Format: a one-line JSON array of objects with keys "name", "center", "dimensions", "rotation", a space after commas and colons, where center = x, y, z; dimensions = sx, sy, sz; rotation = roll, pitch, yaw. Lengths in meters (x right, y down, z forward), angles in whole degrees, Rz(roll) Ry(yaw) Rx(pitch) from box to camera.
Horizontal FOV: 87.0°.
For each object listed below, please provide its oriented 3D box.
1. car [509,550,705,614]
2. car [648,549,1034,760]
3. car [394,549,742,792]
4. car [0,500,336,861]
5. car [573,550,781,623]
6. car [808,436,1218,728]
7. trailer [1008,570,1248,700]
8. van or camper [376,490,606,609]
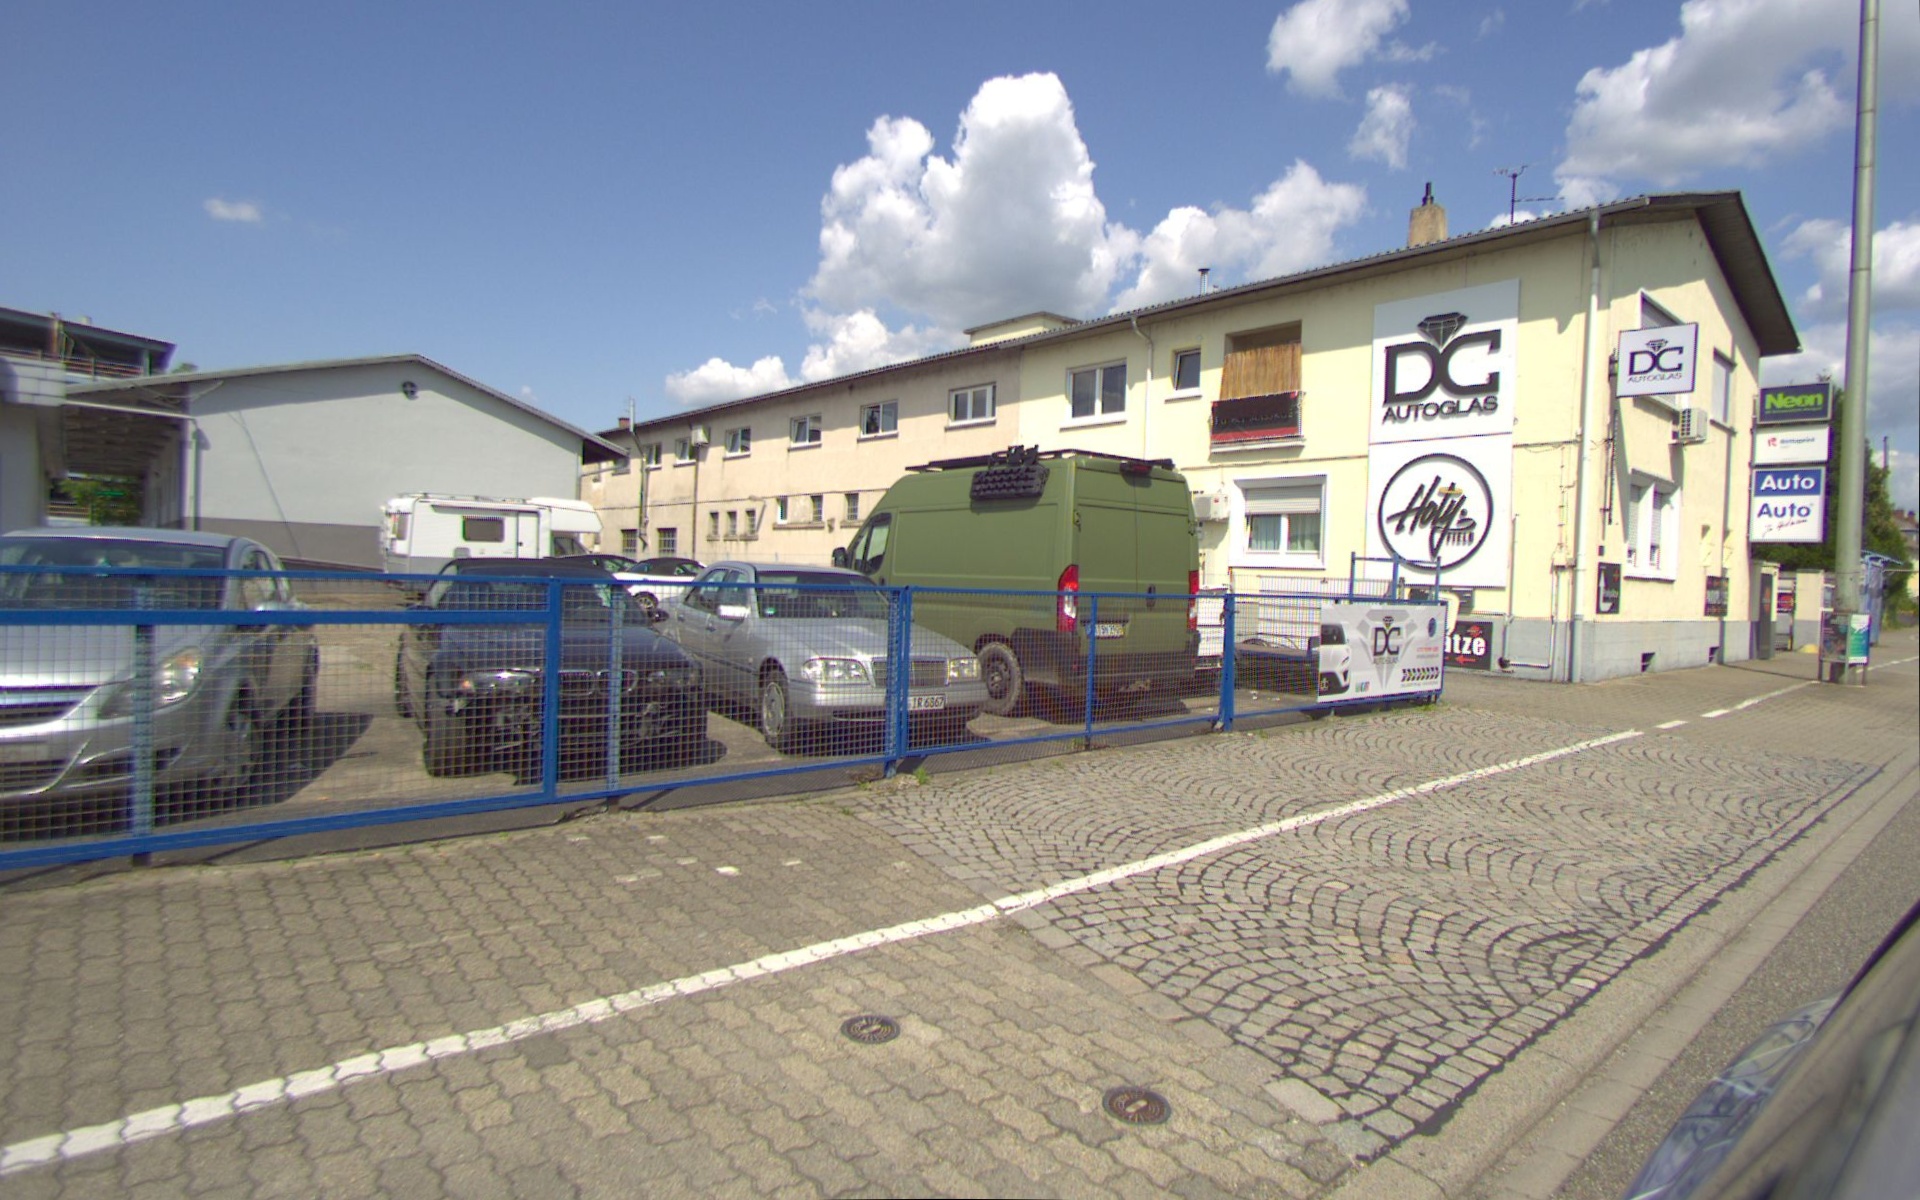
[{"name": "car", "center": [-8.606, -0.448, 24.853], "dimensions": [4.110, 1.405, 1.925], "rotation": [0, 3, -43]}, {"name": "car", "center": [-1.327, 0.294, 9.234], "dimensions": [1.785, 1.449, 4.200], "rotation": [0, 2, -33]}, {"name": "car", "center": [-3.263, 0.319, 7.886], "dimensions": [1.784, 1.372, 4.004], "rotation": [0, 2, -32]}, {"name": "car", "center": [-4.977, 0.254, 6.006], "dimensions": [1.714, 1.515, 4.008], "rotation": [1, 2, -25]}, {"name": "car", "center": [-6.223, -0.315, 22.496], "dimensions": [4.110, 1.433, 1.756], "rotation": [0, 3, -43]}, {"name": "car", "center": [0.368, -0.259, 11.471], "dimensions": [2.112, 2.605, 4.549], "rotation": [0, 2, -39]}, {"name": "trailer", "center": [2.051, 0.358, 12.809], "dimensions": [1.280, 1.349, 2.788], "rotation": [0, 3, -41]}, {"name": "van or camper", "center": [-12.152, -1.268, 26.439], "dimensions": [4.979, 2.807, 2.311], "rotation": [0, 3, -44]}]
